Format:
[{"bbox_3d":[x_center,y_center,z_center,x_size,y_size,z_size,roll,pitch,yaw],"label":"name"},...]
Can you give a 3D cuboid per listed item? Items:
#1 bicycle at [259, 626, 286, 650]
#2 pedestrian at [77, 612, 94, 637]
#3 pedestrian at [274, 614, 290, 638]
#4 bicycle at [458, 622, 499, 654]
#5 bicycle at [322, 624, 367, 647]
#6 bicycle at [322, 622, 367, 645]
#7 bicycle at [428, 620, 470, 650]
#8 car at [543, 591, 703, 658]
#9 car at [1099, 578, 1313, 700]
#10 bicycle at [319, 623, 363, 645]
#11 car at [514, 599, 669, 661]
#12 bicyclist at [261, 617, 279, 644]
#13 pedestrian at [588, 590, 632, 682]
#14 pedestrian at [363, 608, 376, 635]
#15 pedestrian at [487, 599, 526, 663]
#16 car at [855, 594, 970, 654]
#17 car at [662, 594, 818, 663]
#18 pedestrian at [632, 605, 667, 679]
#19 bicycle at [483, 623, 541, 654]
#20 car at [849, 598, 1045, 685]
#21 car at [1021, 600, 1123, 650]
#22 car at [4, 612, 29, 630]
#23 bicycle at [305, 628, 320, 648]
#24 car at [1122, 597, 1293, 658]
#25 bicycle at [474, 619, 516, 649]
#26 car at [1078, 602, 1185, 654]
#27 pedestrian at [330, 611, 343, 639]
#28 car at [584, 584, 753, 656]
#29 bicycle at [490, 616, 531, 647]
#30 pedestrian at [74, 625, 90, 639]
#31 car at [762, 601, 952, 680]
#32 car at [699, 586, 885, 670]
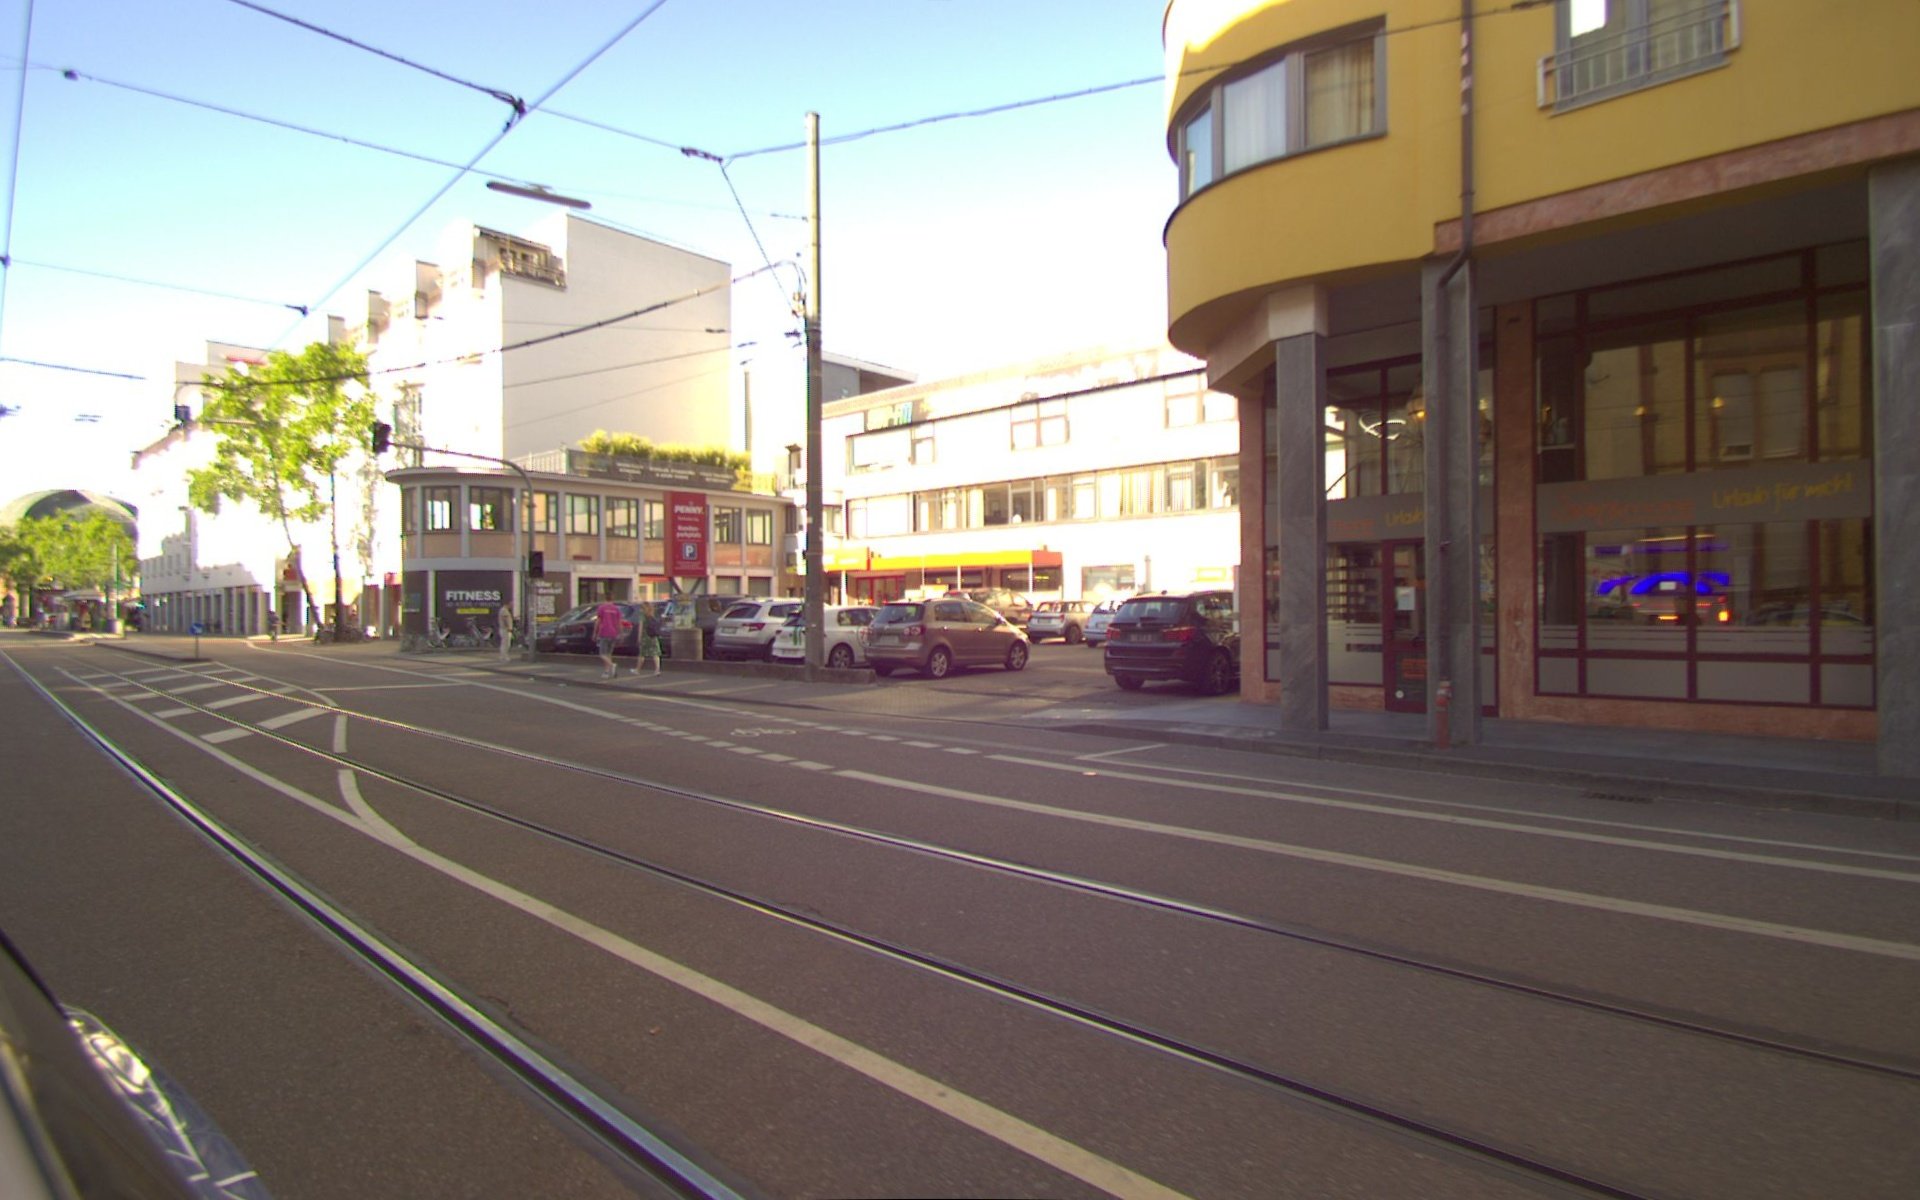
[{"bbox_3d":[-35.814,1.971,52.681,2.003,1.131,0.558,-1,7,41],"label":"bicycle"},{"bbox_3d":[-59.042,1.665,68.304,0.747,1.657,0.784,-1,-1,43],"label":"pedestrian"},{"bbox_3d":[-48.079,1.825,71.767,0.731,1.657,0.737,-1,-1,42],"label":"pedestrian"},{"bbox_3d":[-17.120,1.346,35.957,1.875,1.088,0.459,-1,-1,35],"label":"bicycle"},{"bbox_3d":[-30.221,1.713,49.696,1.849,1.085,0.465,0,-1,-40],"label":"bicycle"},{"bbox_3d":[-30.501,1.664,50.146,1.849,1.085,0.465,0,-1,-40],"label":"bicycle"},{"bbox_3d":[-18.111,1.236,35.846,1.875,1.044,0.519,-1,-1,35],"label":"bicycle"},{"bbox_3d":[-9.880,0.693,29.889,1.785,1.826,4.188,-1,-1,42],"label":"car"},{"bbox_3d":[4.319,0.613,17.359,1.785,1.826,4.188,-1,-1,42],"label":"car"},{"bbox_3d":[-31.159,1.694,50.936,1.849,1.085,0.465,0,-1,-40],"label":"bicycle"},{"bbox_3d":[-11.457,0.884,31.659,1.785,1.776,4.188,-1,0,42],"label":"car"},{"bbox_3d":[-35.892,1.602,52.626,0.718,1.371,0.557,1,-1,39],"label":"bicyclist"},{"bbox_3d":[-7.622,0.775,22.043,0.709,1.961,0.631,-1,-1,41],"label":"pedestrian"},{"bbox_3d":[-35.933,1.293,61.547,0.523,1.657,0.556,-1,-1,42],"label":"pedestrian"},{"bbox_3d":[-12.973,0.880,28.959,0.778,1.777,0.707,-1,-1,35],"label":"pedestrian"},{"bbox_3d":[-1.463,0.736,32.244,1.694,1.762,3.542,-1,0,40],"label":"car"},{"bbox_3d":[-5.708,0.709,26.560,1.785,1.685,3.650,-1,-1,42],"label":"car"},{"bbox_3d":[-6.947,0.921,22.635,0.499,1.629,0.566,-1,-1,41],"label":"pedestrian"},{"bbox_3d":[-15.565,1.321,35.200,1.847,1.044,0.427,0,-1,-23],"label":"bicycle"},{"bbox_3d":[-0.177,0.780,21.194,1.785,1.560,4.188,1,1,42],"label":"car"},{"bbox_3d":[3.747,0.817,33.395,1.626,1.493,3.600,2,0,40],"label":"car"},{"bbox_3d":[-115.290,2.557,123.653,3.997,2.029,1.860,-3,0,41],"label":"car"},{"bbox_3d":[-31.765,1.852,49.648,0.463,0.939,1.757,0,-1,-38],"label":"bicycle"},{"bbox_3d":[6.410,0.682,26.406,3.997,1.465,1.761,-1,-1,40],"label":"car"},{"bbox_3d":[-16.686,1.225,36.303,1.875,1.044,0.459,-1,-1,35],"label":"bicycle"},{"bbox_3d":[5.298,0.825,31.017,1.694,1.490,3.542,-1,-1,40],"label":"car"},{"bbox_3d":[-37.144,1.492,60.306,0.523,1.657,0.556,-1,-1,42],"label":"pedestrian"},{"bbox_3d":[-7.967,0.530,27.940,1.785,1.826,4.188,-1,-1,42],"label":"car"},{"bbox_3d":[-16.283,1.142,36.613,1.875,1.095,0.459,-1,-1,35],"label":"bicycle"},{"bbox_3d":[-61.780,2.235,71.183,0.747,0.996,0.784,-1,-1,42],"label":"pedestrian"},{"bbox_3d":[-2.238,0.858,22.906,1.785,1.621,4.188,-1,-1,42],"label":"car"},{"bbox_3d":[-3.949,0.649,24.349,1.785,1.825,4.188,1,0,42],"label":"car"}]
